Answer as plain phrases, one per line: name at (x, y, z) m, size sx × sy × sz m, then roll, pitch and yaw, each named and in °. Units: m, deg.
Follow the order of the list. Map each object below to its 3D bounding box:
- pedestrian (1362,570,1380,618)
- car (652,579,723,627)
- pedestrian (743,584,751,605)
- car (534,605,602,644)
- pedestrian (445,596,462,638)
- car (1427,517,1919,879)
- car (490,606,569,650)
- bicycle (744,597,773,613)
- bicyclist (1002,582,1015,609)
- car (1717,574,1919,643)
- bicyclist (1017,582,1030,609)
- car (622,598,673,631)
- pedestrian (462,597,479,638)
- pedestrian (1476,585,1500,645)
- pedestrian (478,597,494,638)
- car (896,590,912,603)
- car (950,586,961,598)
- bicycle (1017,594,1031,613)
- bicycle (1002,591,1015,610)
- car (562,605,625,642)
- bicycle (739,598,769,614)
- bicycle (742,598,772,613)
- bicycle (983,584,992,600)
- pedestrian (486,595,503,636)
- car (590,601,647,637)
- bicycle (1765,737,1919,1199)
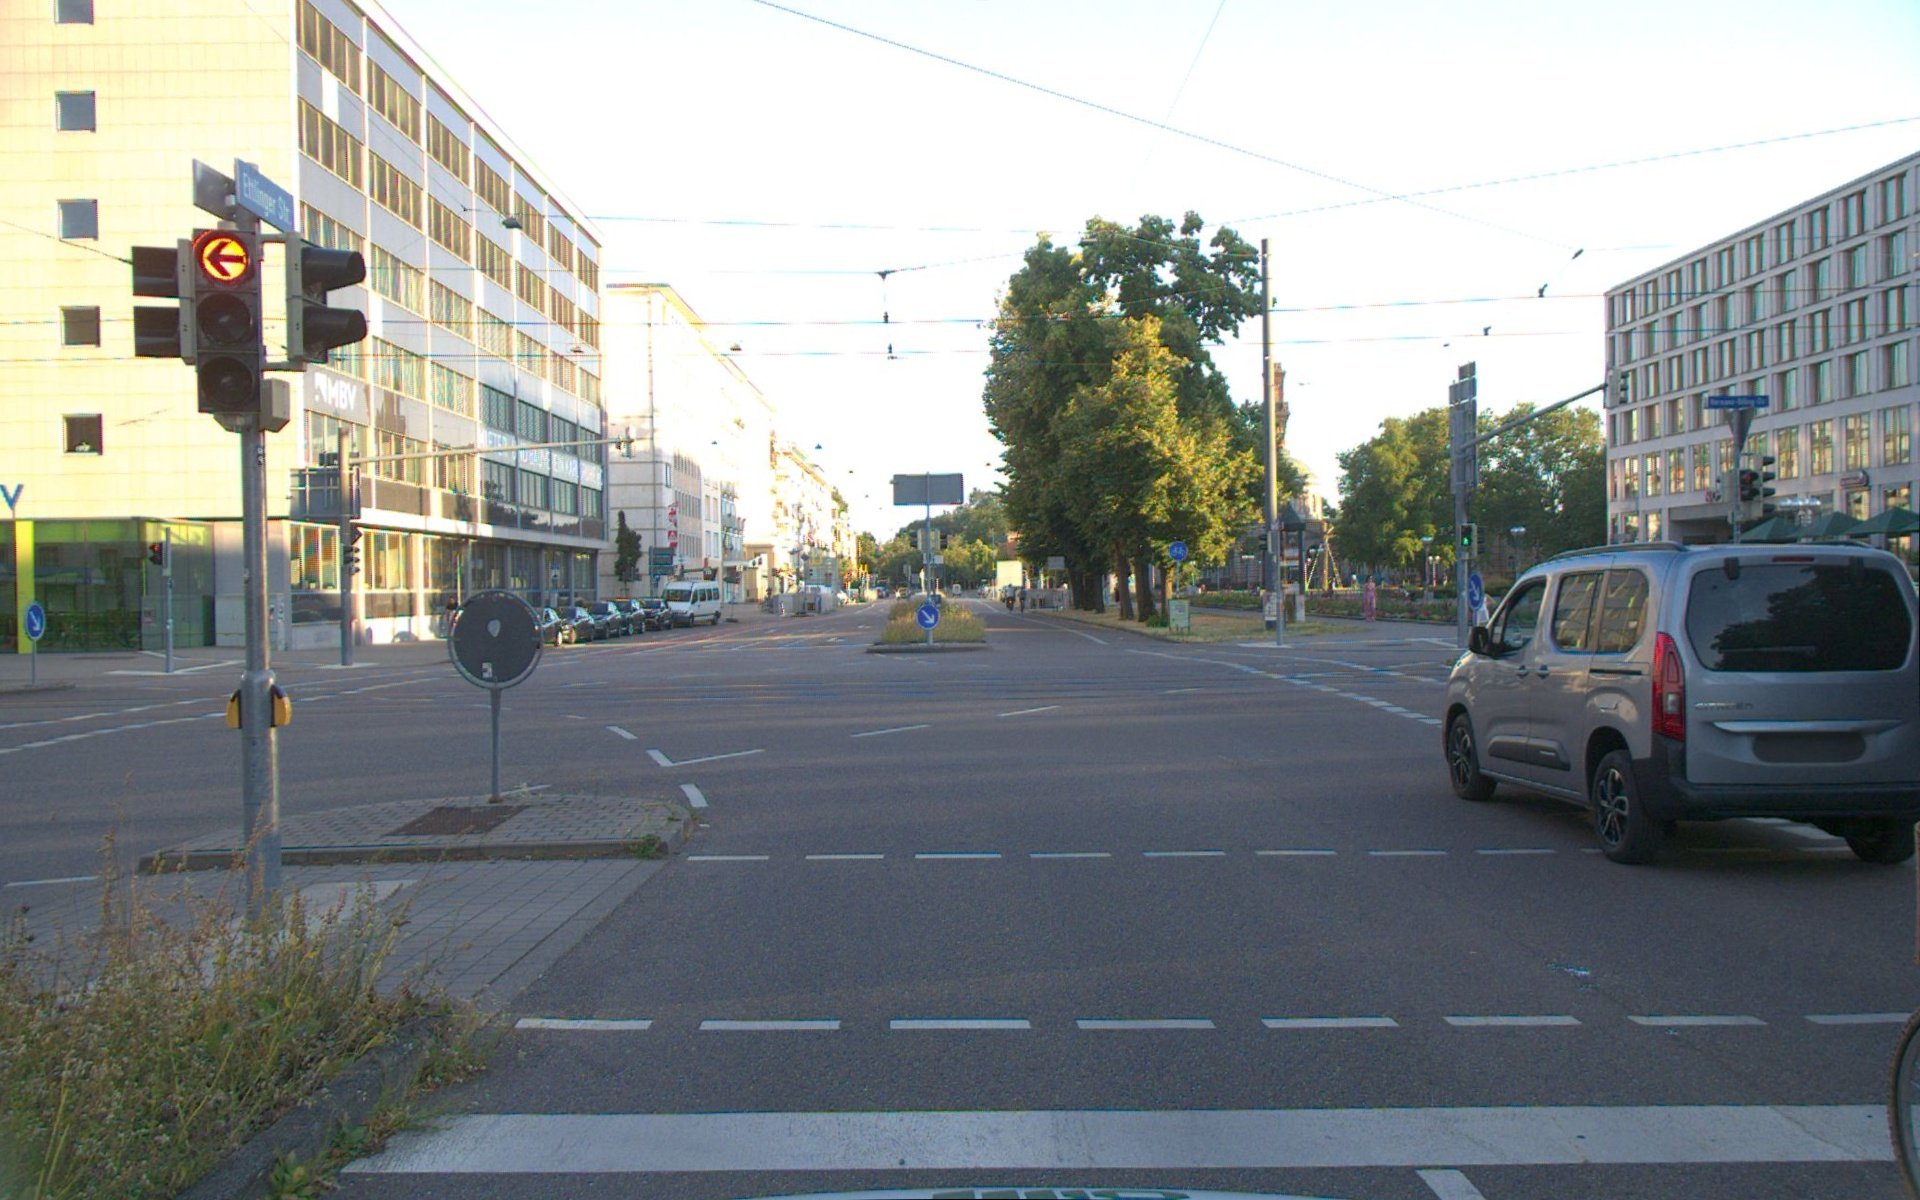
pedestrian at (14.735, -0.223, 59.285) m, size 0.451 × 1.685 × 0.566 m, roll -1°, pitch 0°, yaw -1°
car at (-14.934, 0.137, 91.001) m, size 1.958 × 2.521 × 5.873 m, roll -1°, pitch 0°, yaw 9°
pedestrian at (-21.156, -0.549, 164.518) m, size 0.666 × 2.049 × 0.545 m, roll -1°, pitch 0°, yaw -1°
car at (-16.111, 0.985, 68.176) m, size 1.882 × 1.489 × 3.999 m, roll -1°, pitch 0°, yaw -1°
pedestrian at (-21.169, 0.709, 69.157) m, size 0.540 × 1.708 × 0.500 m, roll -1°, pitch 0°, yaw -1°
car at (4.680, 0.515, 11.085) m, size 1.727 × 1.921 × 4.498 m, roll 0°, pitch 0°, yaw -1°
car at (-16.003, 1.026, 61.682) m, size 1.882 × 1.489 × 4.102 m, roll -1°, pitch 0°, yaw -1°
bicycle at (-15.654, 0.387, 128.640) m, size 2.161 × 1.258 × 0.839 m, roll -1°, pitch 0°, yaw -2°
bicyclist at (3.058, -0.261, 104.859) m, size 0.731 × 1.692 × 0.873 m, roll -1°, pitch 0°, yaw -1°
car at (21.100, 0.185, 39.935) m, size 4.724 × 1.542 × 2.000 m, roll -1°, pitch 0°, yaw 1°
bicyclist at (4.034, -0.299, 105.011) m, size 0.731 × 1.720 × 0.799 m, roll -1°, pitch 0°, yaw -1°
car at (-15.952, 0.725, 84.526) m, size 1.882 × 1.595 × 3.999 m, roll -1°, pitch 0°, yaw -1°
pedestrian at (-20.725, 0.720, 69.975) m, size 0.540 × 1.708 × 0.500 m, roll -1°, pitch 0°, yaw -1°
pedestrian at (13.882, 0.388, 43.493) m, size 0.480 × 1.566 × 0.408 m, roll -1°, pitch 0°, yaw -1°
pedestrian at (-20.063, 0.750, 69.992) m, size 0.490 × 1.708 × 0.500 m, roll -1°, pitch 0°, yaw -1°
car at (-7.014, -0.476, 206.802) m, size 1.825 × 1.546 × 4.000 m, roll -1°, pitch 0°, yaw 0°
car at (-0.656, -1.177, 245.986) m, size 1.379 × 1.670 × 3.998 m, roll -1°, pitch 0°, yaw -2°
bicycle at (4.049, 0.219, 105.010) m, size 0.731 × 1.164 × 2.505 m, roll -1°, pitch 0°, yaw -1°
bicycle at (3.071, 0.011, 105.194) m, size 0.731 × 1.164 × 2.505 m, roll -1°, pitch 0°, yaw -1°
car at (-16.131, 1.005, 72.991) m, size 1.882 × 1.489 × 3.999 m, roll -1°, pitch 0°, yaw -1°
bicycle at (-15.576, 0.457, 125.246) m, size 2.161 × 1.131 × 0.618 m, roll -1°, pitch 0°, yaw -3°
bicycle at (-15.569, 0.432, 126.782) m, size 2.161 × 1.131 × 0.689 m, roll -1°, pitch 0°, yaw -2°
bicycle at (3.448, -0.988, 208.878) m, size 0.981 × 2.049 × 4.000 m, roll -1°, pitch 0°, yaw 0°
pedestrian at (-19.548, 0.636, 69.435) m, size 0.540 × 1.708 × 0.500 m, roll -1°, pitch 0°, yaw -1°
car at (-16.127, 0.874, 78.294) m, size 1.882 × 1.595 × 3.999 m, roll -1°, pitch 0°, yaw -1°
bicycle at (2.195, 0.902, 2.864) m, size 0.599 × 1.152 × 2.004 m, roll 1°, pitch 0°, yaw -1°
